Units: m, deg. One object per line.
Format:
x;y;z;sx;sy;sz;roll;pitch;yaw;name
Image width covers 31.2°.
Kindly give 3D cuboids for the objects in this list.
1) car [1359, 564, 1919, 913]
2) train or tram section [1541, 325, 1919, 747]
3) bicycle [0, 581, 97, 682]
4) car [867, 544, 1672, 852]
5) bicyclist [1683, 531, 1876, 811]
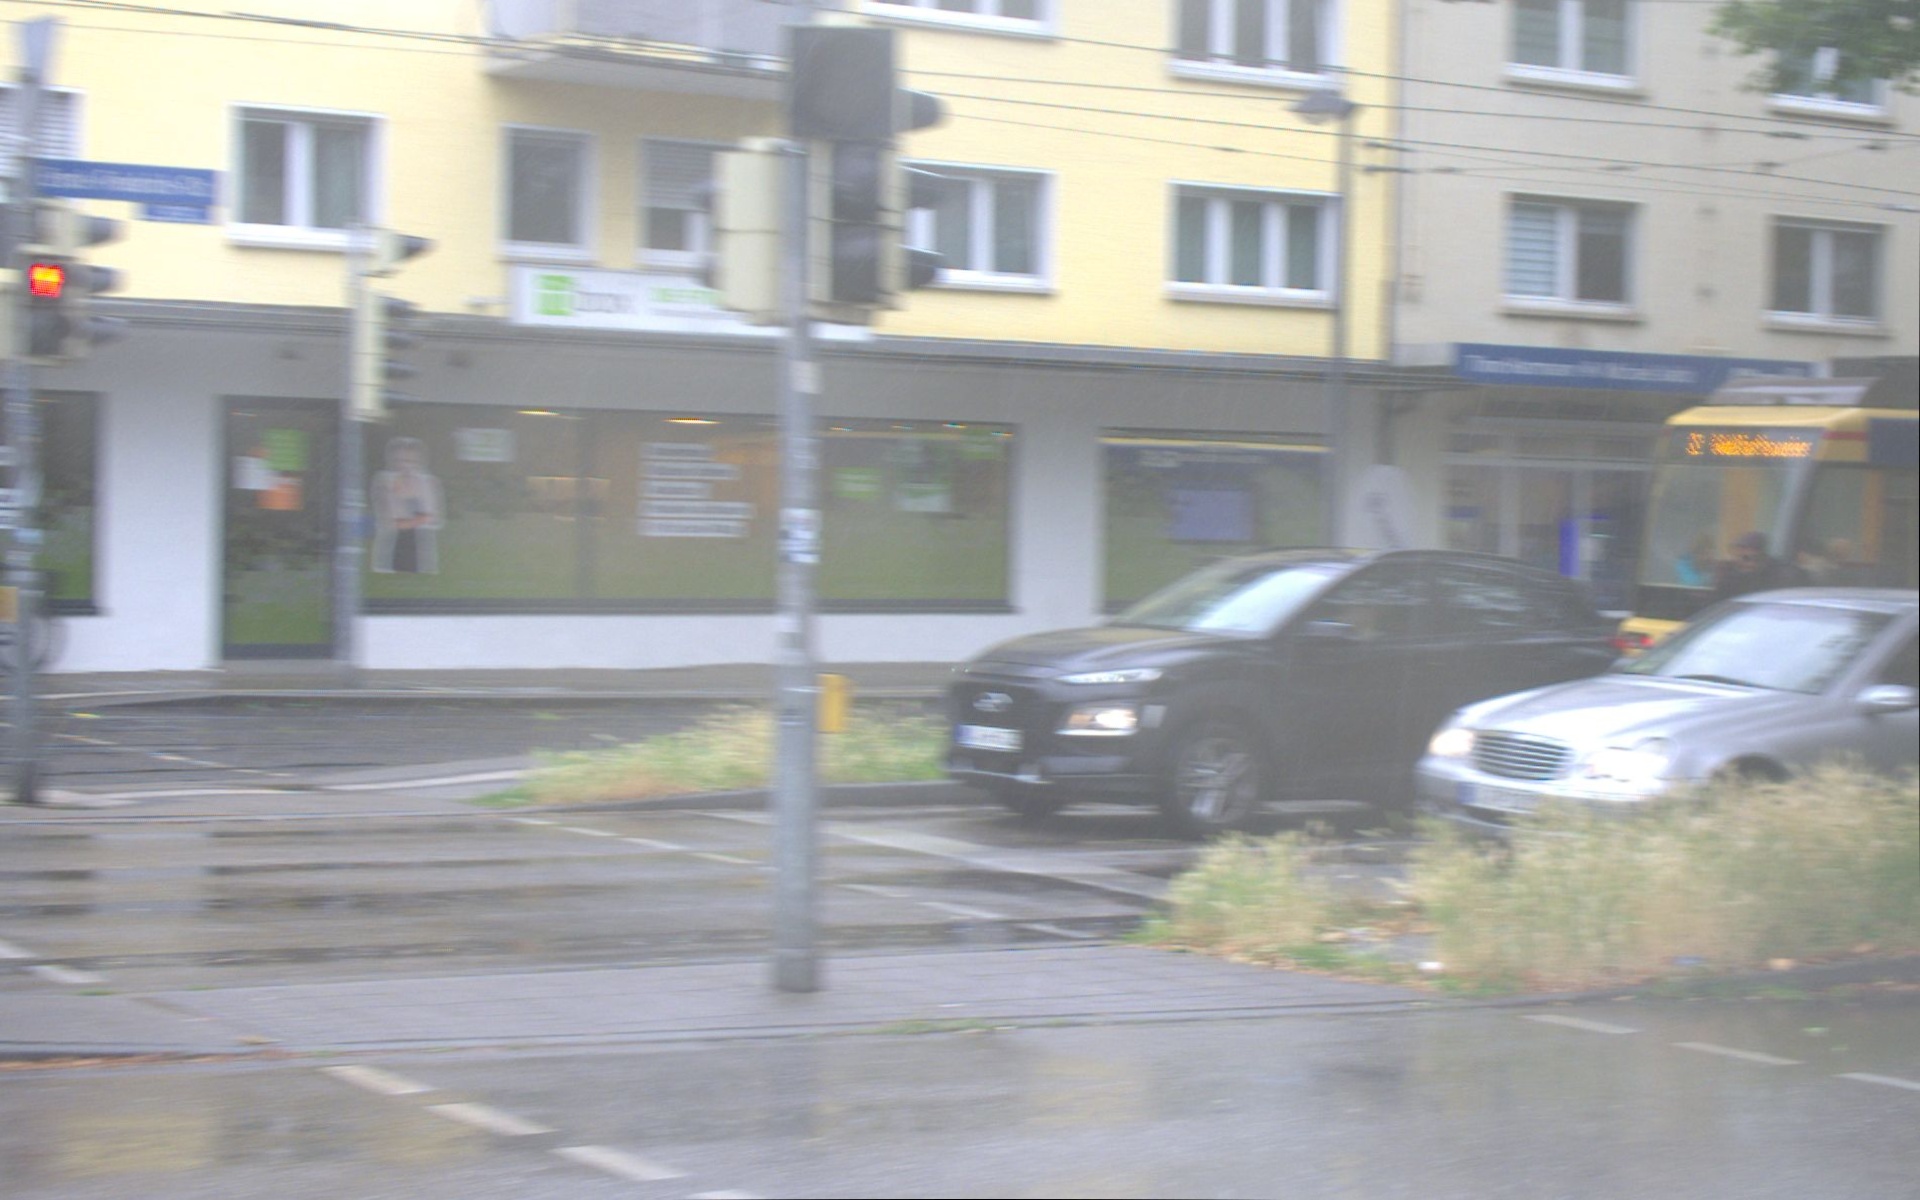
4.289;0.602;17.003;4.486;1.484;1.740;0;2;-33;car
12.350;-0.449;34.051;14.529;3.546;3.116;1;1;-32;train or tram section
-8.880;0.282;30.962;2.039;0.894;0.614;1;1;-32;bicycle
1.781;0.471;19.070;4.271;1.496;1.879;0;2;-37;car
5.146;0.439;21.595;0.887;1.710;0.714;2;0;-36;bicyclist
